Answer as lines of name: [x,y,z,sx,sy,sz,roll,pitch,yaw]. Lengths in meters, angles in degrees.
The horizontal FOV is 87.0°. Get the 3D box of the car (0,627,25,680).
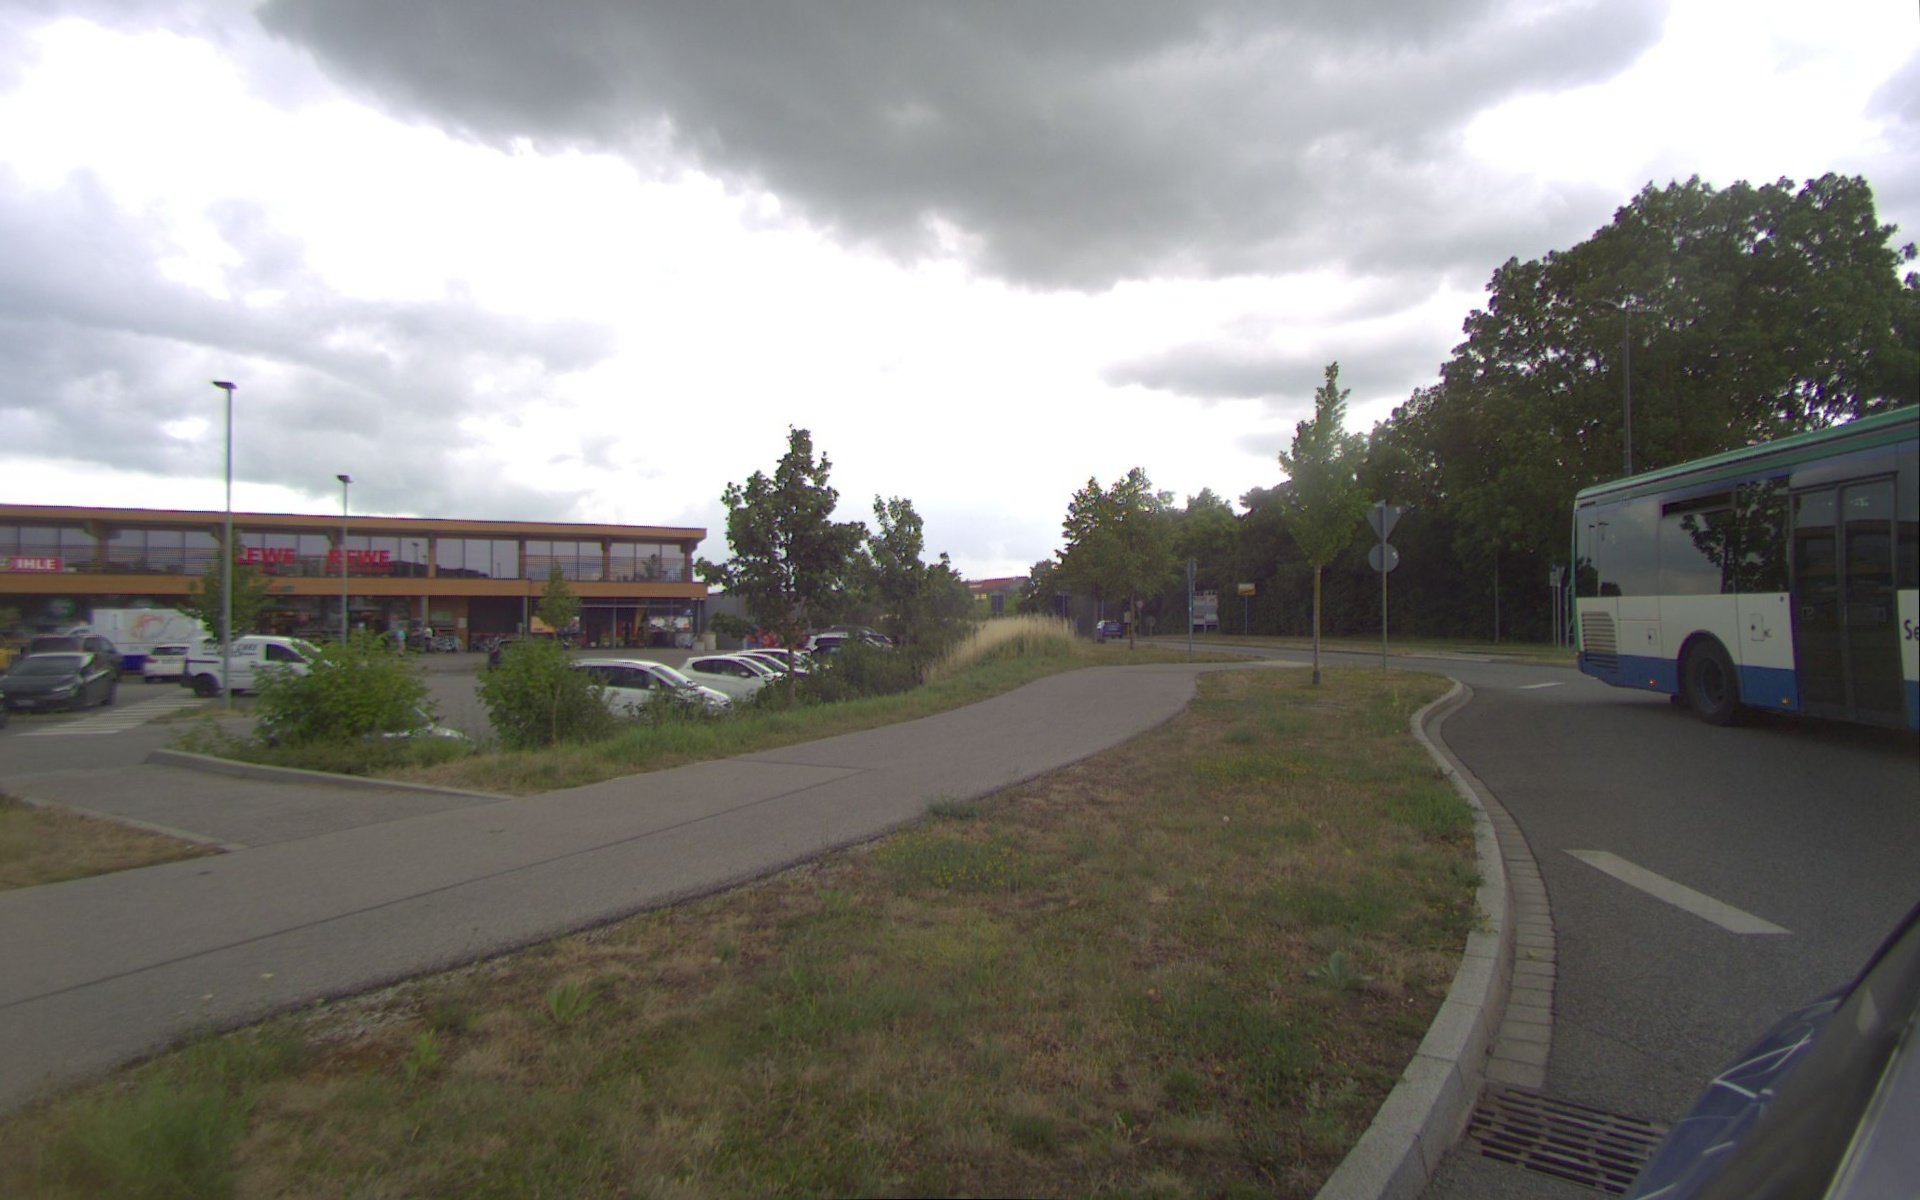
car: [-35.325,1.954,36.064,1.736,1.878,4.006,-1,-1,-24]

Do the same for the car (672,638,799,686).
car: [-7.010,1.935,31.827,3.608,1.311,1.715,-1,0,2]

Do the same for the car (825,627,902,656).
car: [-5.144,2.217,54.050,3.823,1.483,1.694,-1,-1,7]

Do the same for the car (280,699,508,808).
car: [-9.262,2.424,16.519,3.698,1.390,1.565,-2,-1,29]

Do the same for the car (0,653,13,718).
car: [-21.734,1.923,21.201,1.799,1.416,4.004,0,0,-28]

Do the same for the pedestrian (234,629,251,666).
pedestrian: [-38.056,2.511,53.681,0.521,1.974,0.572,-1,-1,31]

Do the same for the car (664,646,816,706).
car: [-6.395,2.212,29.702,3.928,1.527,1.998,-1,0,4]

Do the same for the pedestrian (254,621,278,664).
pedestrian: [-33.411,2.035,48.738,0.913,2.039,0.806,0,-1,-31]

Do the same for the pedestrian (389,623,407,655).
pedestrian: [-30.524,2.108,55.007,0.788,1.678,0.752,0,-1,-23]

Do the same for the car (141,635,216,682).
car: [-29.617,2.175,38.457,1.697,1.549,4.004,0,-1,-29]

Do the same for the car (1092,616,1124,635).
car: [11.822,2.056,81.057,1.729,1.449,4.082,-2,-3,-2]

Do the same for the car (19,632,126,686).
car: [-32.238,2.086,36.880,1.814,1.747,4.126,-2,0,-25]

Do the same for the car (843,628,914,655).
car: [-4.621,2.373,57.772,3.823,1.483,1.694,-1,-1,7]

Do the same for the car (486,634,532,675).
car: [-19.264,2.288,43.175,1.680,1.588,3.675,0,-1,-26]

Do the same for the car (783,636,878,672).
car: [-5.603,2.329,43.953,3.823,1.483,1.694,-1,-1,7]

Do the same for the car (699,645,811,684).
car: [-7.186,2.252,35.551,3.613,1.311,1.413,0,-1,7]

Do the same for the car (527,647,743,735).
car: [-7.387,2.058,23.301,4.363,1.694,1.799,2,0,3]

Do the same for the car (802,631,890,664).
car: [-5.348,2.230,47.749,3.823,1.483,1.694,-1,-1,7]

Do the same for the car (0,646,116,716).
car: [-24.096,2.086,26.990,1.697,1.573,4.004,0,-1,-29]

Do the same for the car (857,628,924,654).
car: [-4.224,2.484,61.700,3.823,1.483,1.694,-1,-1,7]

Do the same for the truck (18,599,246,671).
truck: [-35.136,1.415,43.388,7.111,2.843,2.979,0,-1,-29]

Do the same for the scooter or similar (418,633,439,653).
scooter or similar: [-30.637,2.492,58.347,0.983,1.141,0.794,0,-4,-32]

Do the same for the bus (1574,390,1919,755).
bus: [9.682,-0.304,11.733,2.484,3.299,5.447,0,1,9]

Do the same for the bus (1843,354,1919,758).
bus: [8.697,-0.307,5.705,2.484,3.299,6.532,0,1,9]

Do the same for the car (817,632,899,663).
car: [-5.097,2.366,50.852,3.823,1.483,1.694,-1,-1,7]

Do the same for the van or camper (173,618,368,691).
van or camper: [-21.315,1.651,31.445,4.707,2.125,1.768,0,-1,-9]

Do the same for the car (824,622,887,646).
car: [-6.684,2.149,64.705,3.918,1.462,1.886,-1,-1,-8]

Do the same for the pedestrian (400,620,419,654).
pedestrian: [-31.465,2.107,57.854,0.910,1.923,0.794,0,-4,-32]

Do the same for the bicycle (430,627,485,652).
bicycle: [-28.803,2.262,58.031,2.810,1.326,0.981,0,-1,-25]
